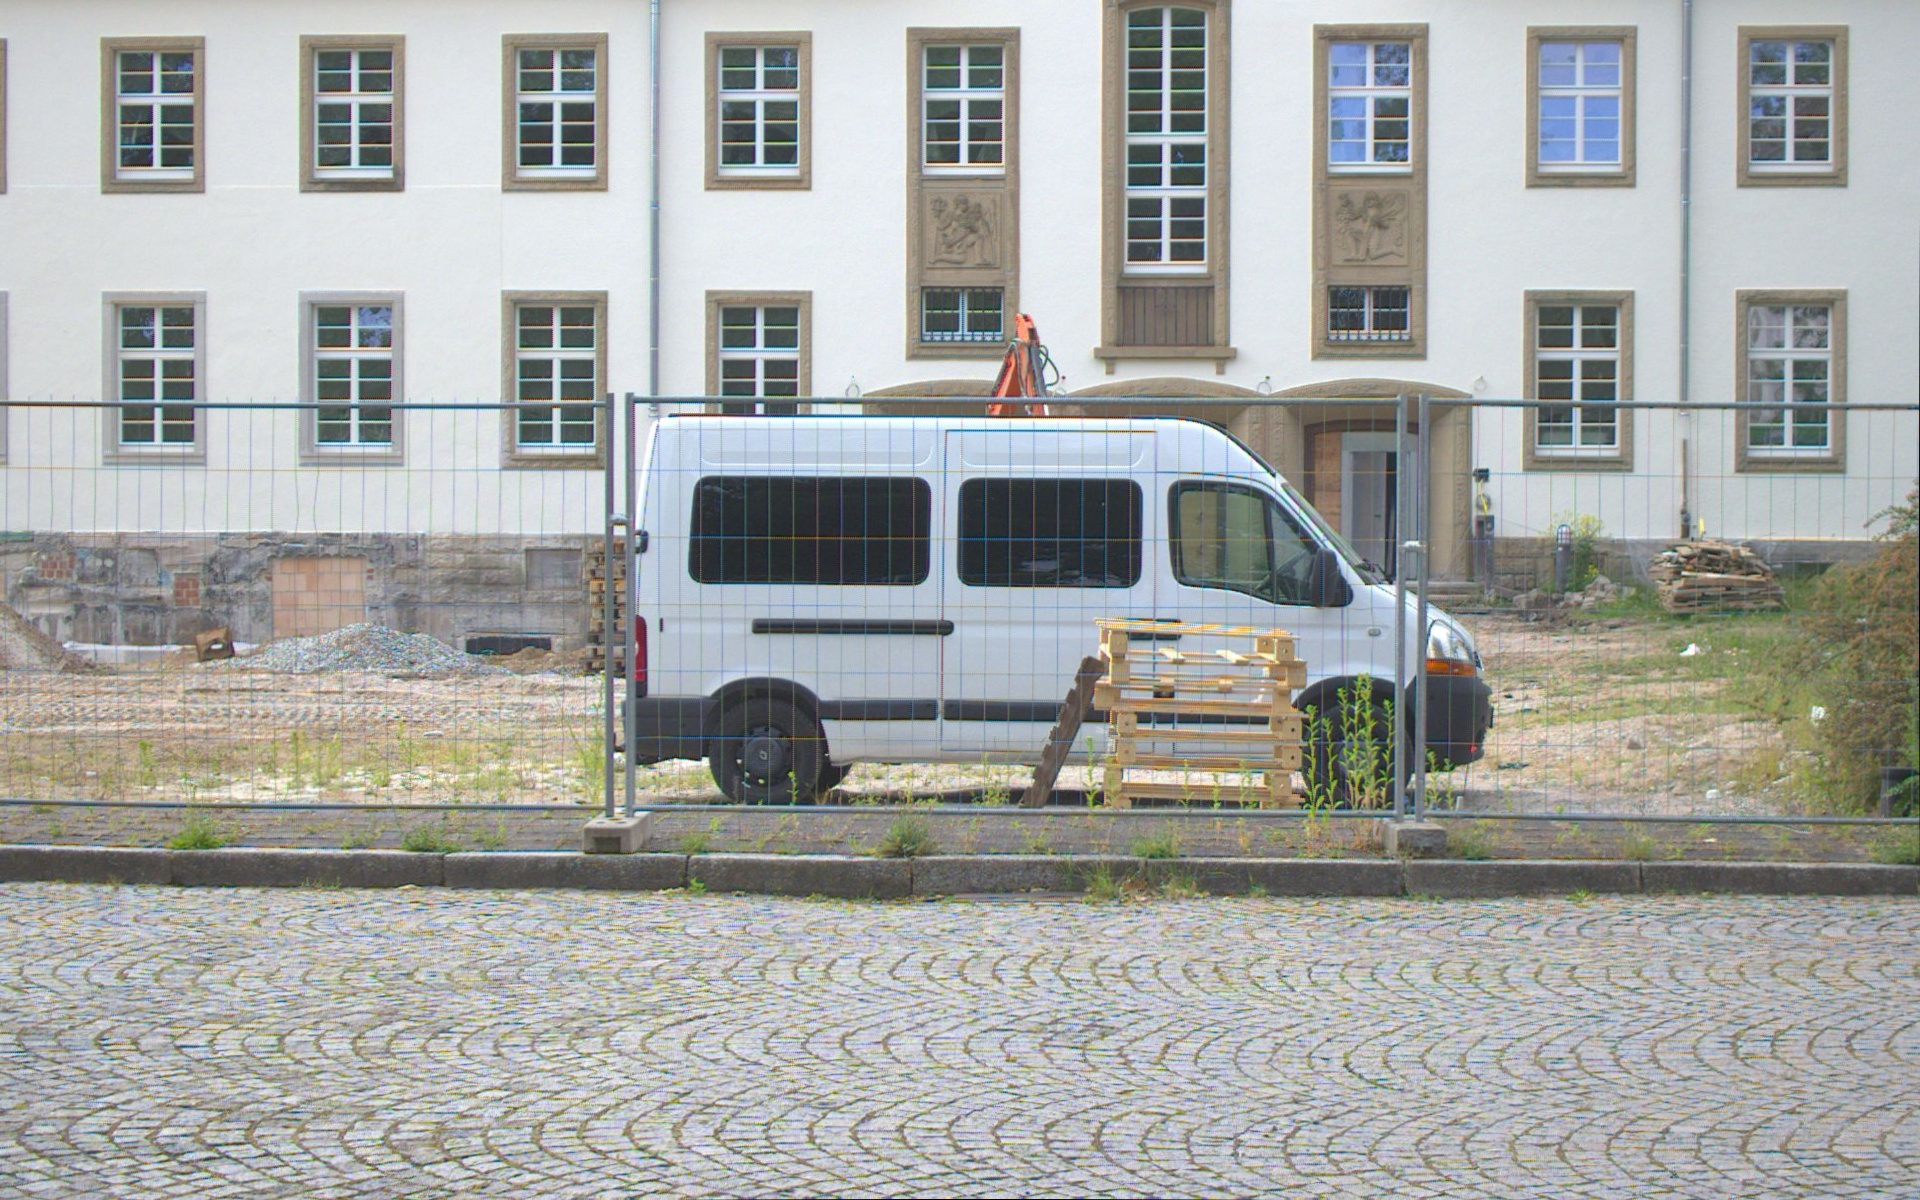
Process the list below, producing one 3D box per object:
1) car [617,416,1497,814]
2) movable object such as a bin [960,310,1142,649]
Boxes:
[{"bbox_3d":[0.637,0.057,21.559,5.264,2.336,1.910,1,1,5],"label":"car"},{"bbox_3d":[1.024,-1.398,40.999,1.993,3.758,5.318,1,1,0],"label":"movable object such as a bin"}]
